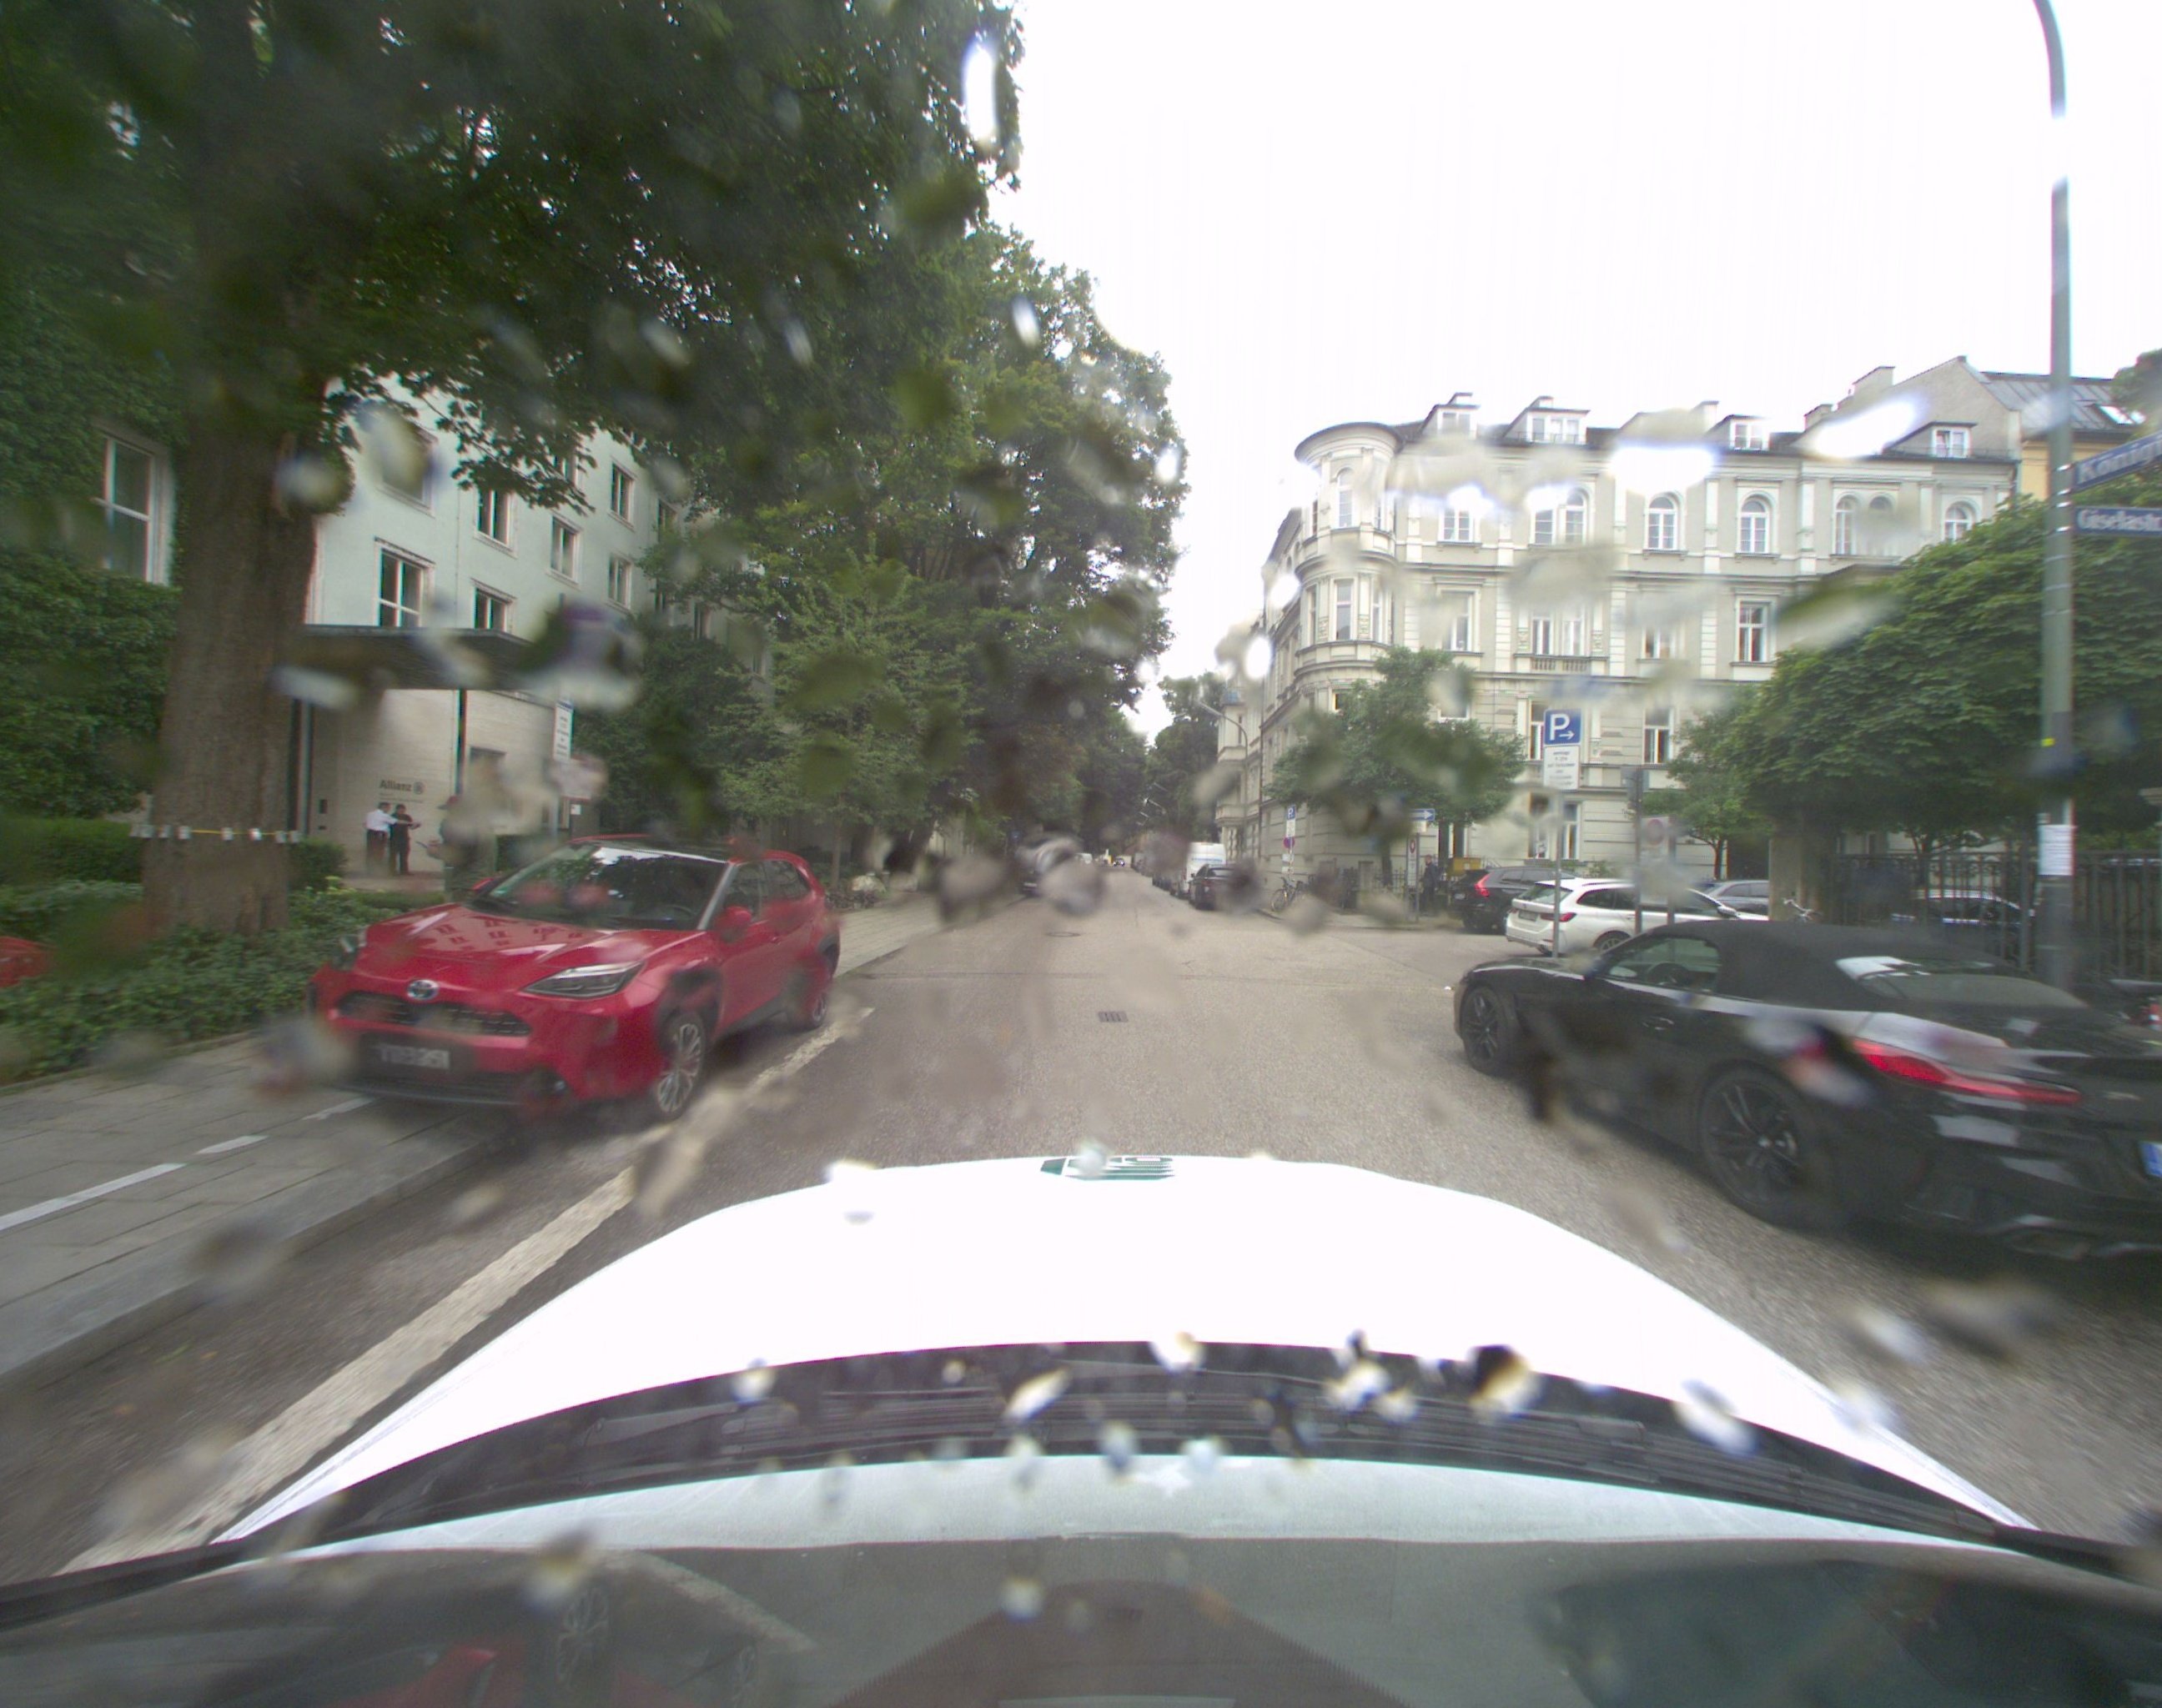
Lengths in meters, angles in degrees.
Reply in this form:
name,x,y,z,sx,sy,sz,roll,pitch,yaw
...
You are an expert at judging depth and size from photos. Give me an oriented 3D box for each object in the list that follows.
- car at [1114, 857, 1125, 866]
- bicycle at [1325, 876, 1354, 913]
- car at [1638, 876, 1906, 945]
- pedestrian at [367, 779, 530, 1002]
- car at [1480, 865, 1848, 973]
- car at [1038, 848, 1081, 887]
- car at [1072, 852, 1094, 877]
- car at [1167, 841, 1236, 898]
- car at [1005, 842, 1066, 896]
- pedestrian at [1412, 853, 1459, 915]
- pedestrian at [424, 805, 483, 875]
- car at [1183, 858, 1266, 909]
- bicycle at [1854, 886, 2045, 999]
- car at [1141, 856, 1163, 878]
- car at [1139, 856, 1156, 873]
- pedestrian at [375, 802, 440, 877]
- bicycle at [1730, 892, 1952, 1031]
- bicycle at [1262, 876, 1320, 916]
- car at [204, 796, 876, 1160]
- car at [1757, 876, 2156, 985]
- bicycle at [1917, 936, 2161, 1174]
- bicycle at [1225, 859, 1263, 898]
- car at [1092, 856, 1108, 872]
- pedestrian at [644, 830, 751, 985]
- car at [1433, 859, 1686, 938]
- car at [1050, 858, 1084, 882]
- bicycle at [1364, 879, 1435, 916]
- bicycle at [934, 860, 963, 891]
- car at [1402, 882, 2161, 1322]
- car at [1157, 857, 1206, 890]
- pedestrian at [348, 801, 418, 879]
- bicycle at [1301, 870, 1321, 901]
name,x,y,z,sx,sy,sz,roll,pitch,yaw
car,7.798,1.532,165.350,1.985,1.783,4.004,1,0,4
bicycle,8.204,1.264,25.918,0.428,1.028,1.892,1,1,4
car,16.640,1.344,19.755,5.149,1.505,1.808,1,-3,-4
pedestrian,-5.628,0.313,7.302,0.710,1.852,0.797,3,-1,0
car,9.705,1.049,13.844,4.891,1.531,1.913,1,2,-1
car,-1.180,0.737,45.903,2.177,1.956,5.164,3,0,-1
car,0.210,1.001,78.898,1.995,2.186,4.697,3,0,1
car,4.955,0.624,34.182,2.196,2.208,4.855,0,-1,0
car,-1.815,0.597,34.189,2.241,1.956,5.451,3,0,-1
pedestrian,9.981,0.838,22.951,0.969,1.689,0.860,1,-1,1
pedestrian,-16.260,-0.337,21.131,0.748,1.753,0.900,2,-2,-3
car,4.672,0.926,27.215,2.262,1.546,4.591,0,-1,4
bicycle,10.640,1.072,10.000,1.909,1.275,0.467,2,0,-4
car,6.662,1.180,77.217,1.985,1.975,4.004,1,0,4
car,7.830,1.224,96.391,1.985,2.014,4.004,1,0,4
pedestrian,-16.298,-0.340,19.741,0.748,1.753,0.900,2,-2,-3
bicycle,7.759,1.042,8.442,0.541,1.225,1.773,1,-1,-6
bicycle,6.087,1.192,23.726,0.654,1.028,2.192,1,1,-13
car,-3.050,0.589,6.021,1.881,1.590,4.526,3,0,-1
car,14.776,1.254,13.950,4.846,1.506,1.935,2,1,-2
bicycle,5.820,1.082,4.463,0.659,1.063,1.942,1,0,7
bicycle,6.709,0.984,33.644,0.708,1.515,2.028,2,0,-15
car,2.731,1.386,118.233,2.041,2.154,4.312,3,0,-1
pedestrian,-4.074,0.548,8.706,0.712,1.548,0.751,3,-1,-4
car,11.391,1.093,19.645,5.022,1.653,1.942,2,-4,-1
car,-0.945,1.120,57.311,2.062,1.519,4.238,3,0,2
bicycle,9.589,1.308,24.570,1.914,1.028,0.558,1,1,4
bicycle,-4.939,0.797,30.532,0.630,1.102,1.769,3,-1,4
car,3.927,0.921,5.084,1.994,1.319,4.593,-1,0,-1
car,5.241,0.990,43.020,2.131,1.630,4.315,0,-1,0
pedestrian,-16.198,-0.317,18.915,0.895,1.753,0.752,2,-1,-2
bicycle,8.321,1.116,29.474,0.542,1.060,1.756,1,0,11
